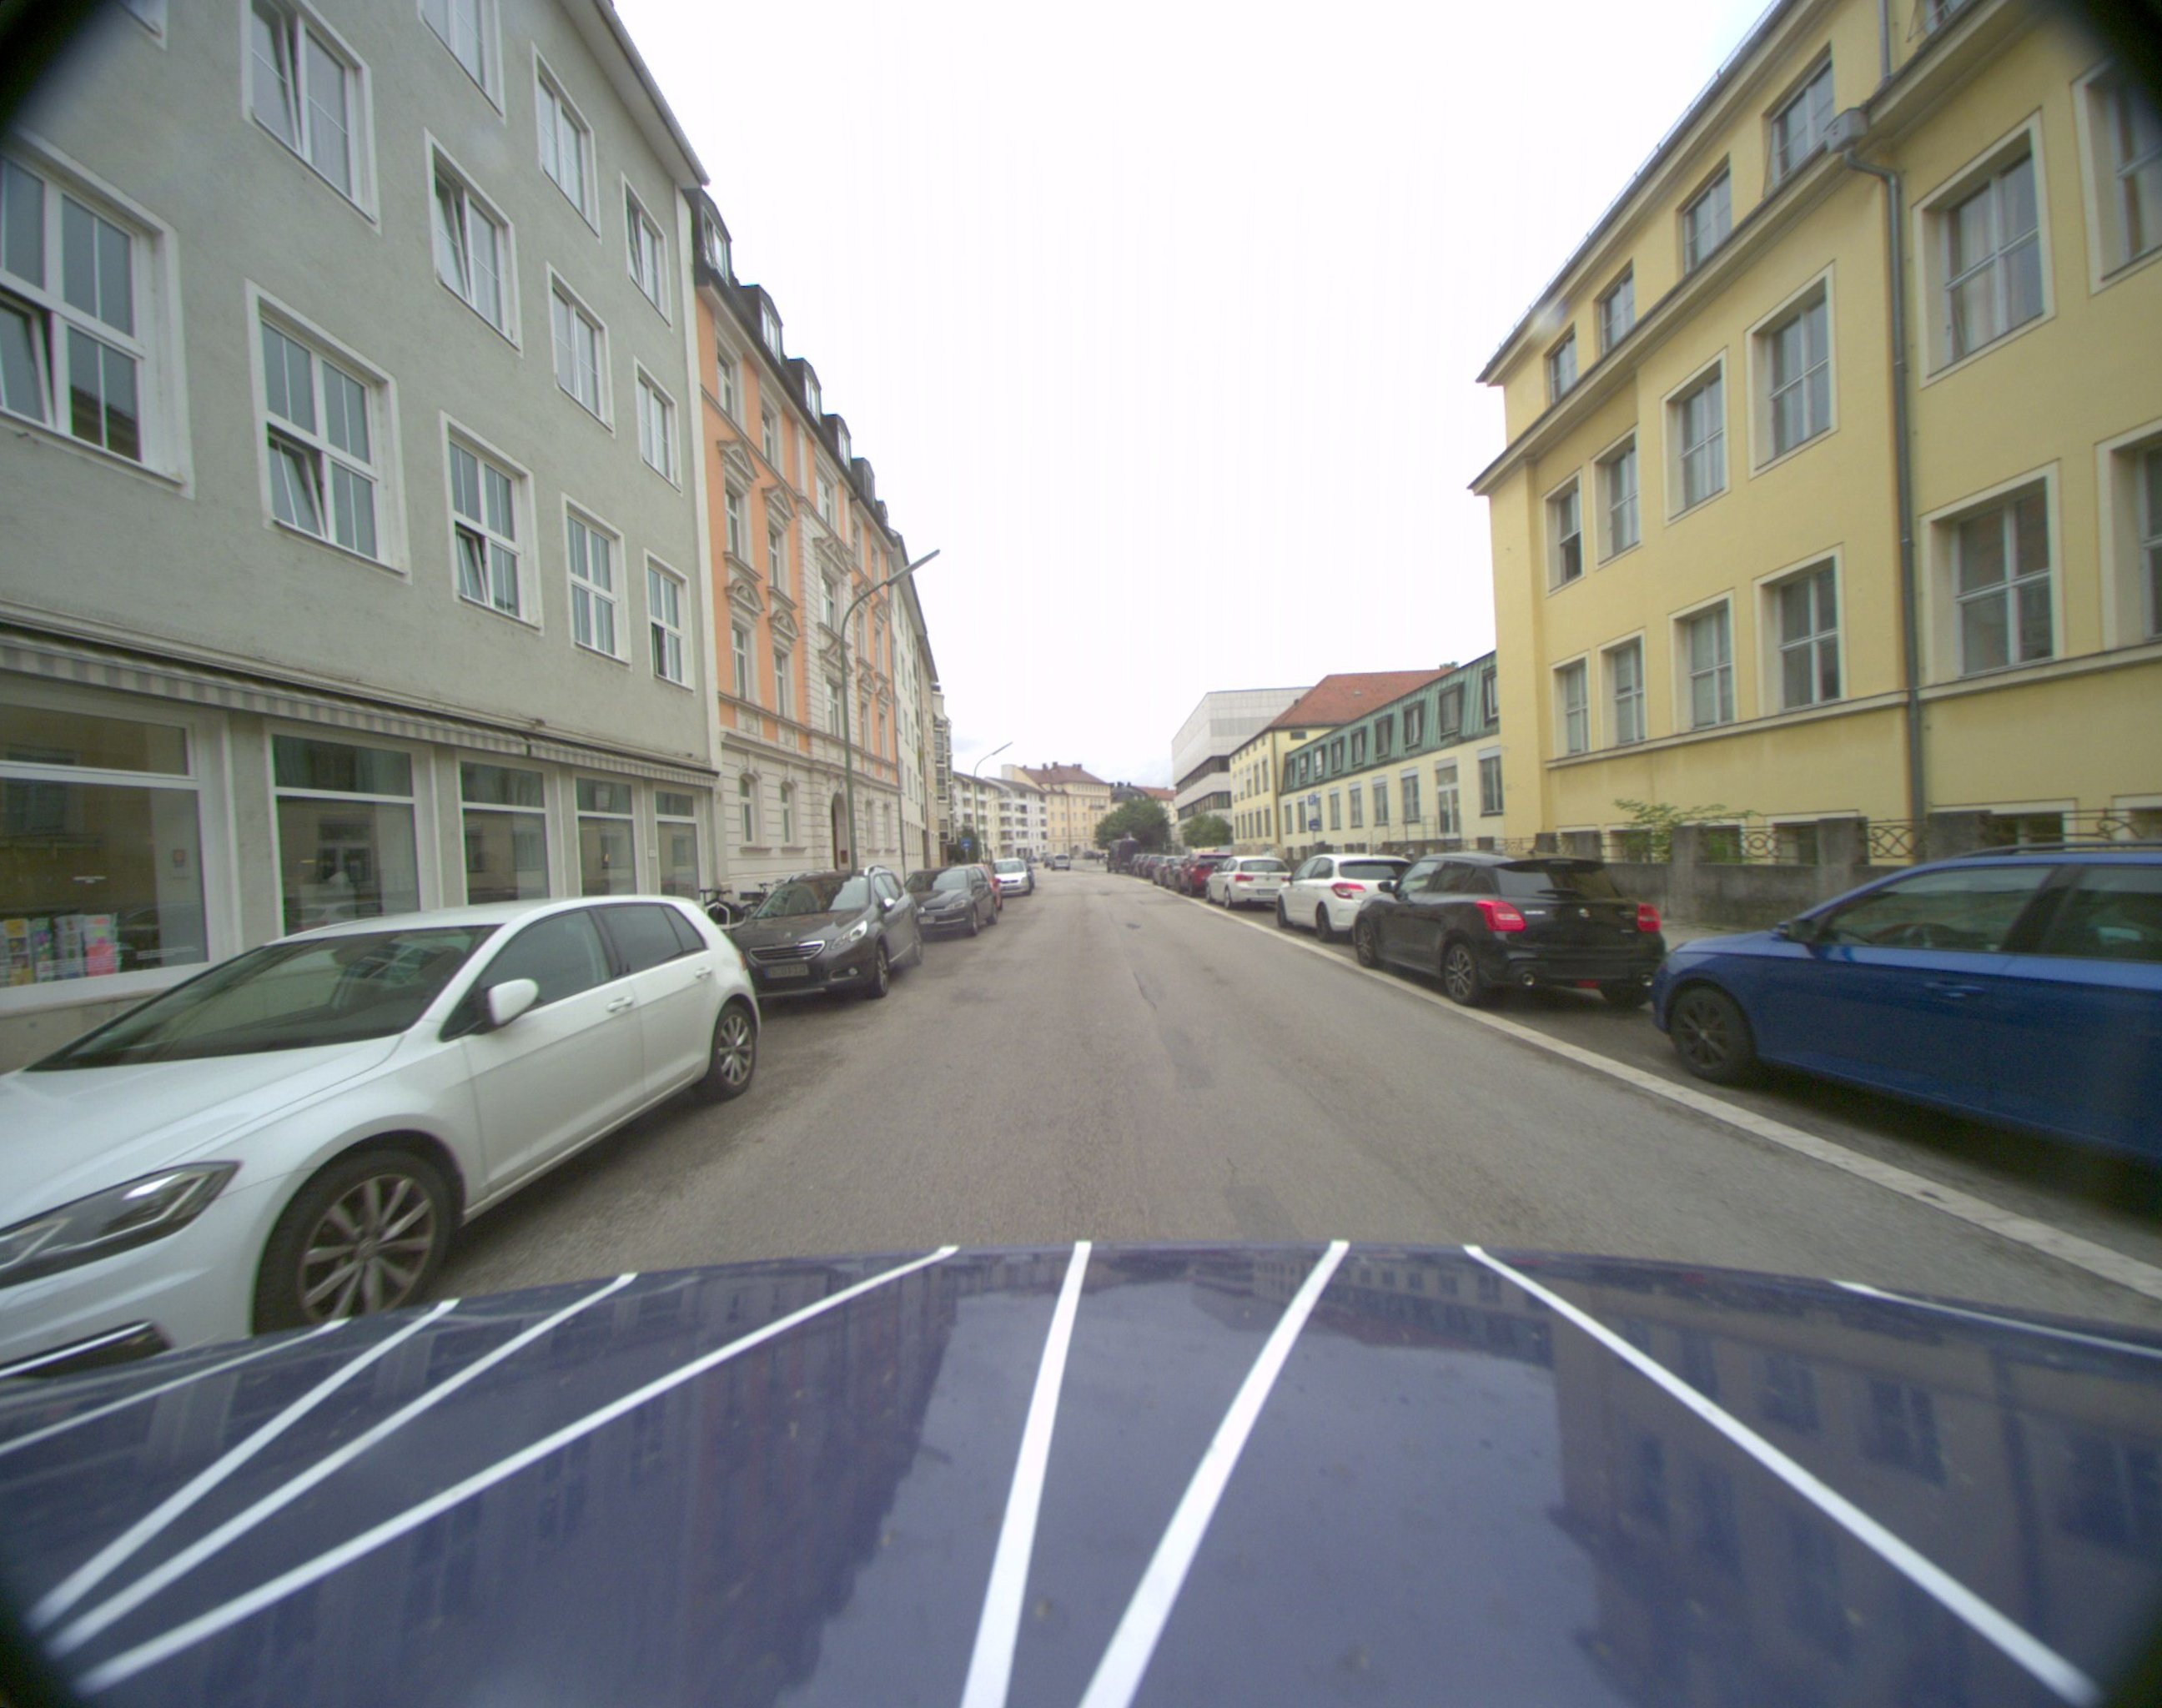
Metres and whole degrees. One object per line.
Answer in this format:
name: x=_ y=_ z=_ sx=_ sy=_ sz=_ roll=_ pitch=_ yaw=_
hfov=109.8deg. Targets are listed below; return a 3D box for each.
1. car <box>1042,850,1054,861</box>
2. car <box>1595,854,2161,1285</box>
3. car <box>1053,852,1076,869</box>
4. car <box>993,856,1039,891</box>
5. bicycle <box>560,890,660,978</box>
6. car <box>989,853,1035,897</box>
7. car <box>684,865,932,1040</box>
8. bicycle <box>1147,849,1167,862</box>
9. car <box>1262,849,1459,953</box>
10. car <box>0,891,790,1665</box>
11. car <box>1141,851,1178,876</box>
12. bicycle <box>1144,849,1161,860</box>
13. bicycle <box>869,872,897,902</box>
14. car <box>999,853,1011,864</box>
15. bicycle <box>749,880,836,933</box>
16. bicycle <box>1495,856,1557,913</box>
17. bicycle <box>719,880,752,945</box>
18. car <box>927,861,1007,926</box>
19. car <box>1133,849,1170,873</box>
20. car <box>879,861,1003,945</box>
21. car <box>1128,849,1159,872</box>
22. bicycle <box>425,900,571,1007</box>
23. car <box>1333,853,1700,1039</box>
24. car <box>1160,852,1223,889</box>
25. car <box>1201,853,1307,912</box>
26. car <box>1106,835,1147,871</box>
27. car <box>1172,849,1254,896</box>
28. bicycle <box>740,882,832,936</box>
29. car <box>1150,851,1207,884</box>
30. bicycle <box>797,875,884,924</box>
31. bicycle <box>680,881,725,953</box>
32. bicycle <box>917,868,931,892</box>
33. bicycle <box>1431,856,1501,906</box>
car: x=-5.289 y=0.227 z=121.515 sx=1.797 sy=1.663 sz=4.148 roll=-2 pitch=1 yaw=-2
car: x=4.711 y=0.806 z=3.358 sx=1.708 sy=1.494 sz=4.494 roll=2 pitch=1 yaw=-1
car: x=-1.835 y=0.680 z=83.586 sx=1.921 sy=1.837 sz=5.317 roll=-2 pitch=0 yaw=-7
car: x=-3.161 y=0.907 z=37.691 sx=1.747 sy=1.486 sz=4.547 roll=-3 pitch=1 yaw=0
bicycle: x=-7.476 y=1.234 z=12.159 sx=0.396 sy=1.170 sz=1.815 roll=-3 pitch=1 yaw=0
car: x=-2.994 y=0.840 z=32.400 sx=1.686 sy=1.664 sz=3.801 roll=-5 pitch=1 yaw=-7
car: x=-3.207 y=1.031 z=9.937 sx=1.711 sy=1.583 sz=4.360 roll=-4 pitch=0 yaw=-3
bicycle: x=7.436 y=0.184 z=74.380 sx=1.816 sy=1.145 sz=0.519 roll=-3 pitch=1 yaw=-2
car: x=4.742 y=0.684 z=13.697 sx=1.789 sy=1.423 sz=4.651 roll=-3 pitch=1 yaw=0
car: x=-3.232 y=1.105 z=3.763 sx=1.677 sy=1.421 sz=4.529 roll=-5 pitch=1 yaw=1
car: x=4.854 y=0.553 z=47.461 sx=1.918 sy=1.473 sz=4.531 roll=0 pitch=0 yaw=1
bicycle: x=8.001 y=0.034 z=84.985 sx=1.816 sy=1.145 sz=0.519 roll=-3 pitch=1 yaw=-2
bicycle: x=-7.224 y=1.187 z=27.734 sx=0.597 sy=1.018 sz=1.817 roll=-2 pitch=0 yaw=-3
car: x=-12.058 y=0.712 z=119.728 sx=1.755 sy=1.483 sz=3.997 roll=-4 pitch=1 yaw=-7
bicycle: x=-6.763 y=1.204 z=17.906 sx=0.620 sy=1.083 sz=1.818 roll=-2 pitch=1 yaw=35
bicycle: x=9.211 y=0.601 z=15.787 sx=0.538 sy=1.056 sz=1.641 roll=-3 pitch=1 yaw=10
bicycle: x=-6.964 y=1.159 z=15.323 sx=0.248 sy=1.248 sz=0.916 roll=-2 pitch=1 yaw=-4
car: x=-3.143 y=1.043 z=21.644 sx=1.692 sy=1.491 sz=4.146 roll=-5 pitch=0 yaw=-3
car: x=4.796 y=0.478 z=52.223 sx=1.919 sy=1.578 sz=4.351 roll=0 pitch=0 yaw=-3
car: x=-2.875 y=0.951 z=16.600 sx=1.691 sy=1.394 sz=4.363 roll=-4 pitch=1 yaw=2
car: x=4.610 y=0.439 z=56.726 sx=1.885 sy=1.626 sz=4.348 roll=0 pitch=0 yaw=-2
bicycle: x=-7.706 y=1.266 z=10.166 sx=0.385 sy=1.151 sz=1.949 roll=-3 pitch=1 yaw=0
car: x=4.352 y=0.776 z=8.469 sx=1.703 sy=1.488 sz=4.148 roll=1 pitch=1 yaw=0
car: x=4.515 y=0.644 z=31.627 sx=1.754 sy=1.397 sz=4.353 roll=0 pitch=1 yaw=-3
car: x=4.683 y=0.711 z=21.279 sx=1.798 sy=1.421 sz=4.663 roll=0 pitch=1 yaw=-1
car: x=3.706 y=-0.115 z=63.243 sx=2.220 sy=2.837 sz=6.192 roll=-1 pitch=1 yaw=-8
car: x=4.563 y=0.592 z=26.967 sx=1.963 sy=1.473 sz=4.527 roll=0 pitch=1 yaw=-2
bicycle: x=-6.702 y=1.223 z=17.310 sx=1.851 sy=1.061 sz=0.514 roll=-3 pitch=1 yaw=-42
car: x=4.633 y=0.618 z=36.666 sx=2.020 sy=1.410 sz=4.614 roll=-1 pitch=1 yaw=-2
bicycle: x=-6.300 y=1.181 z=20.033 sx=2.096 sy=1.132 sz=0.583 roll=-3 pitch=1 yaw=-43
bicycle: x=-7.161 y=1.169 z=14.414 sx=0.248 sy=1.248 sz=1.233 roll=-2 pitch=1 yaw=-4
bicycle: x=-7.536 y=1.220 z=36.451 sx=0.531 sy=1.065 sz=1.999 roll=-3 pitch=0 yaw=-10
bicycle: x=8.884 y=0.595 z=17.617 sx=0.576 sy=1.056 sz=1.639 roll=-4 pitch=1 yaw=-8
